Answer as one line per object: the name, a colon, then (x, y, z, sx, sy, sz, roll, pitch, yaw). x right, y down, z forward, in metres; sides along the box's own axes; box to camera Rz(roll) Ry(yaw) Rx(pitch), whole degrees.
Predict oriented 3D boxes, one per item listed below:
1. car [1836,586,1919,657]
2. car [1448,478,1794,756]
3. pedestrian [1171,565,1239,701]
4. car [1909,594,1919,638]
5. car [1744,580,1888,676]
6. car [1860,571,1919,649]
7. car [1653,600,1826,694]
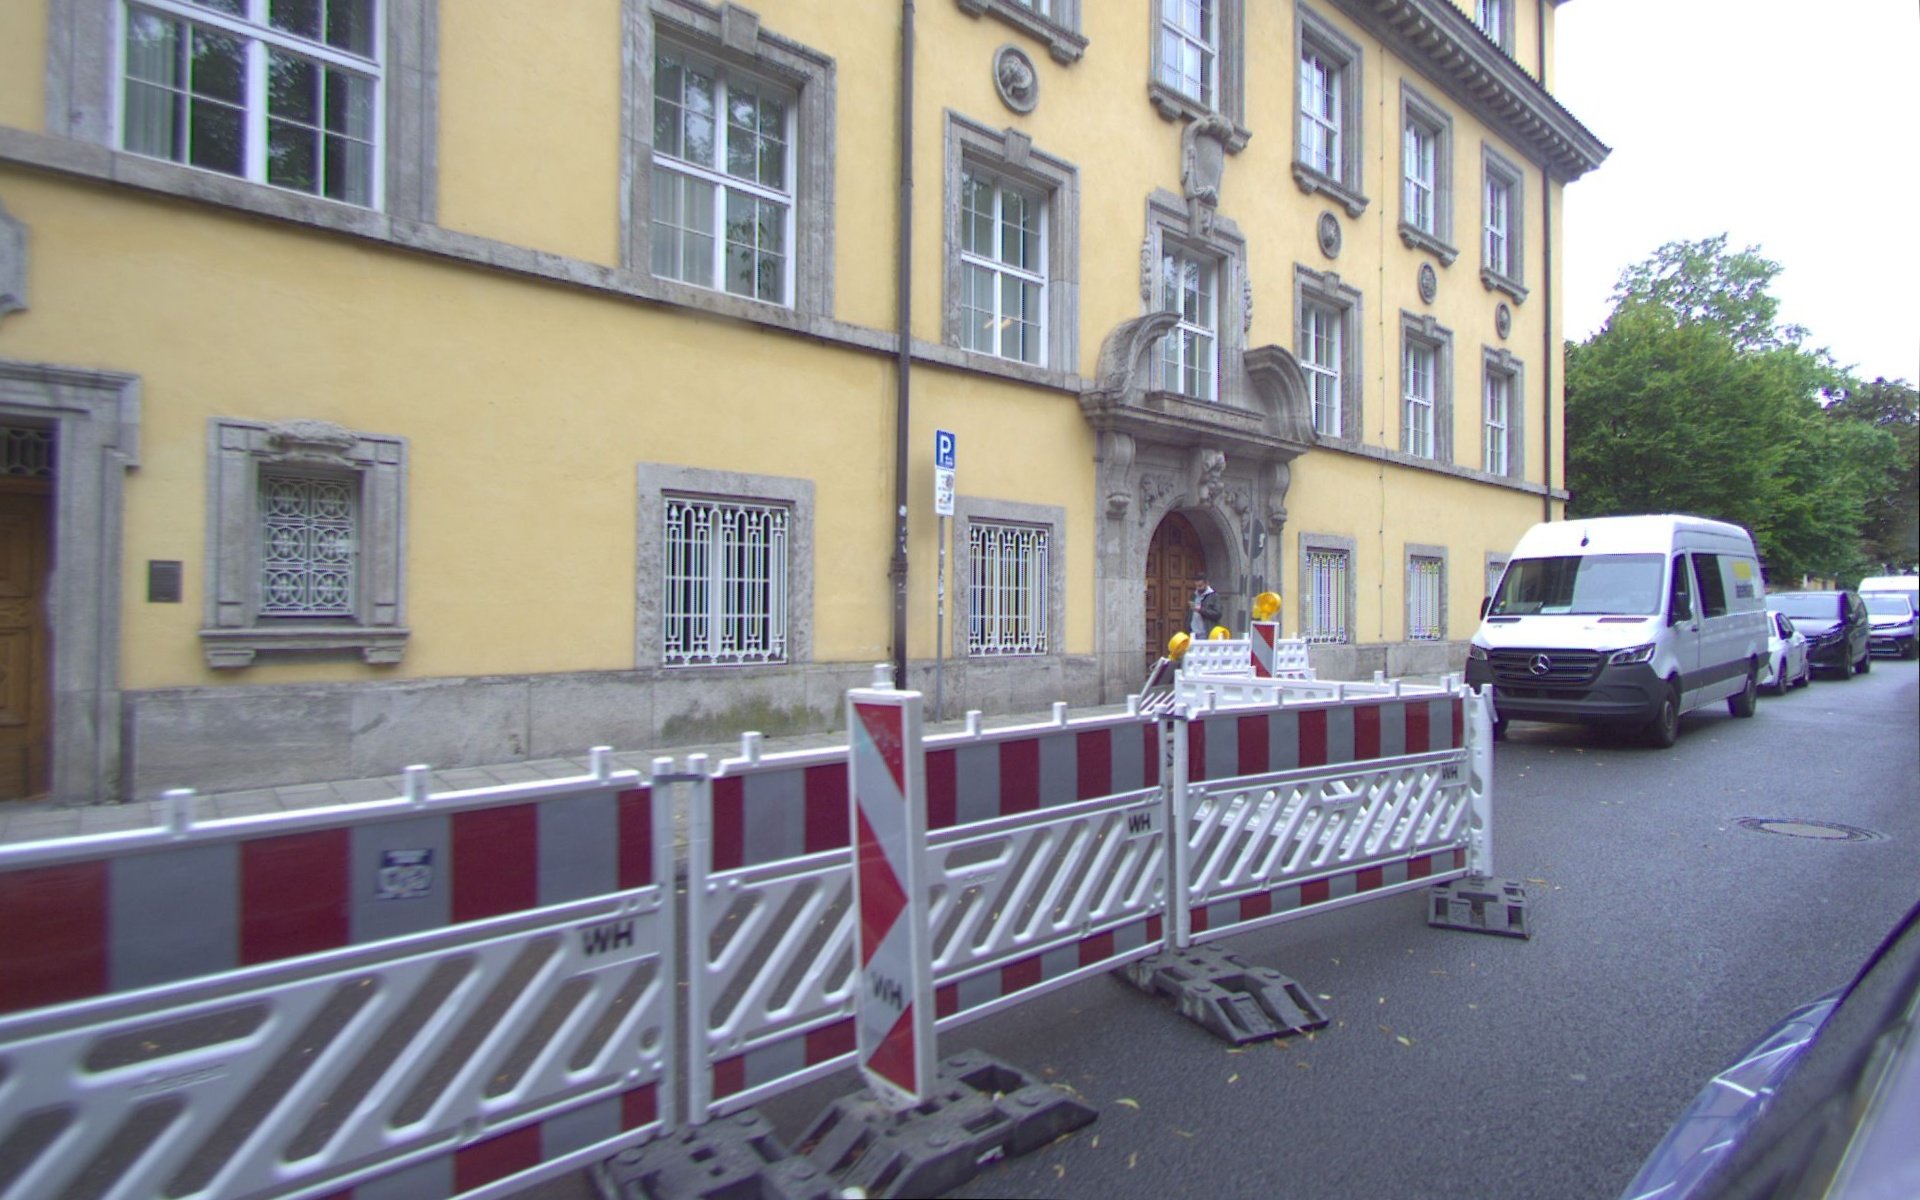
car: (27.350, 0.601, 29.754, 5.079, 1.931, 2.014, 0, -2, -45)
car: (8.904, 0.137, 13.167, 7.486, 2.707, 2.056, -1, 0, -43)
pedestrian: (3.406, 0.431, 14.086, 0.573, 1.826, 0.701, -1, 2, -41)
car: (40.359, 0.619, 41.398, 4.523, 1.764, 1.861, 0, -1, -42)
car: (18.927, 0.536, 22.289, 4.903, 1.892, 1.872, -1, 0, -43)
car: (32.590, 0.273, 34.648, 5.643, 2.519, 2.097, -1, 1, -43)
car: (14.330, 0.763, 18.521, 4.184, 1.476, 1.873, -1, 0, -43)
